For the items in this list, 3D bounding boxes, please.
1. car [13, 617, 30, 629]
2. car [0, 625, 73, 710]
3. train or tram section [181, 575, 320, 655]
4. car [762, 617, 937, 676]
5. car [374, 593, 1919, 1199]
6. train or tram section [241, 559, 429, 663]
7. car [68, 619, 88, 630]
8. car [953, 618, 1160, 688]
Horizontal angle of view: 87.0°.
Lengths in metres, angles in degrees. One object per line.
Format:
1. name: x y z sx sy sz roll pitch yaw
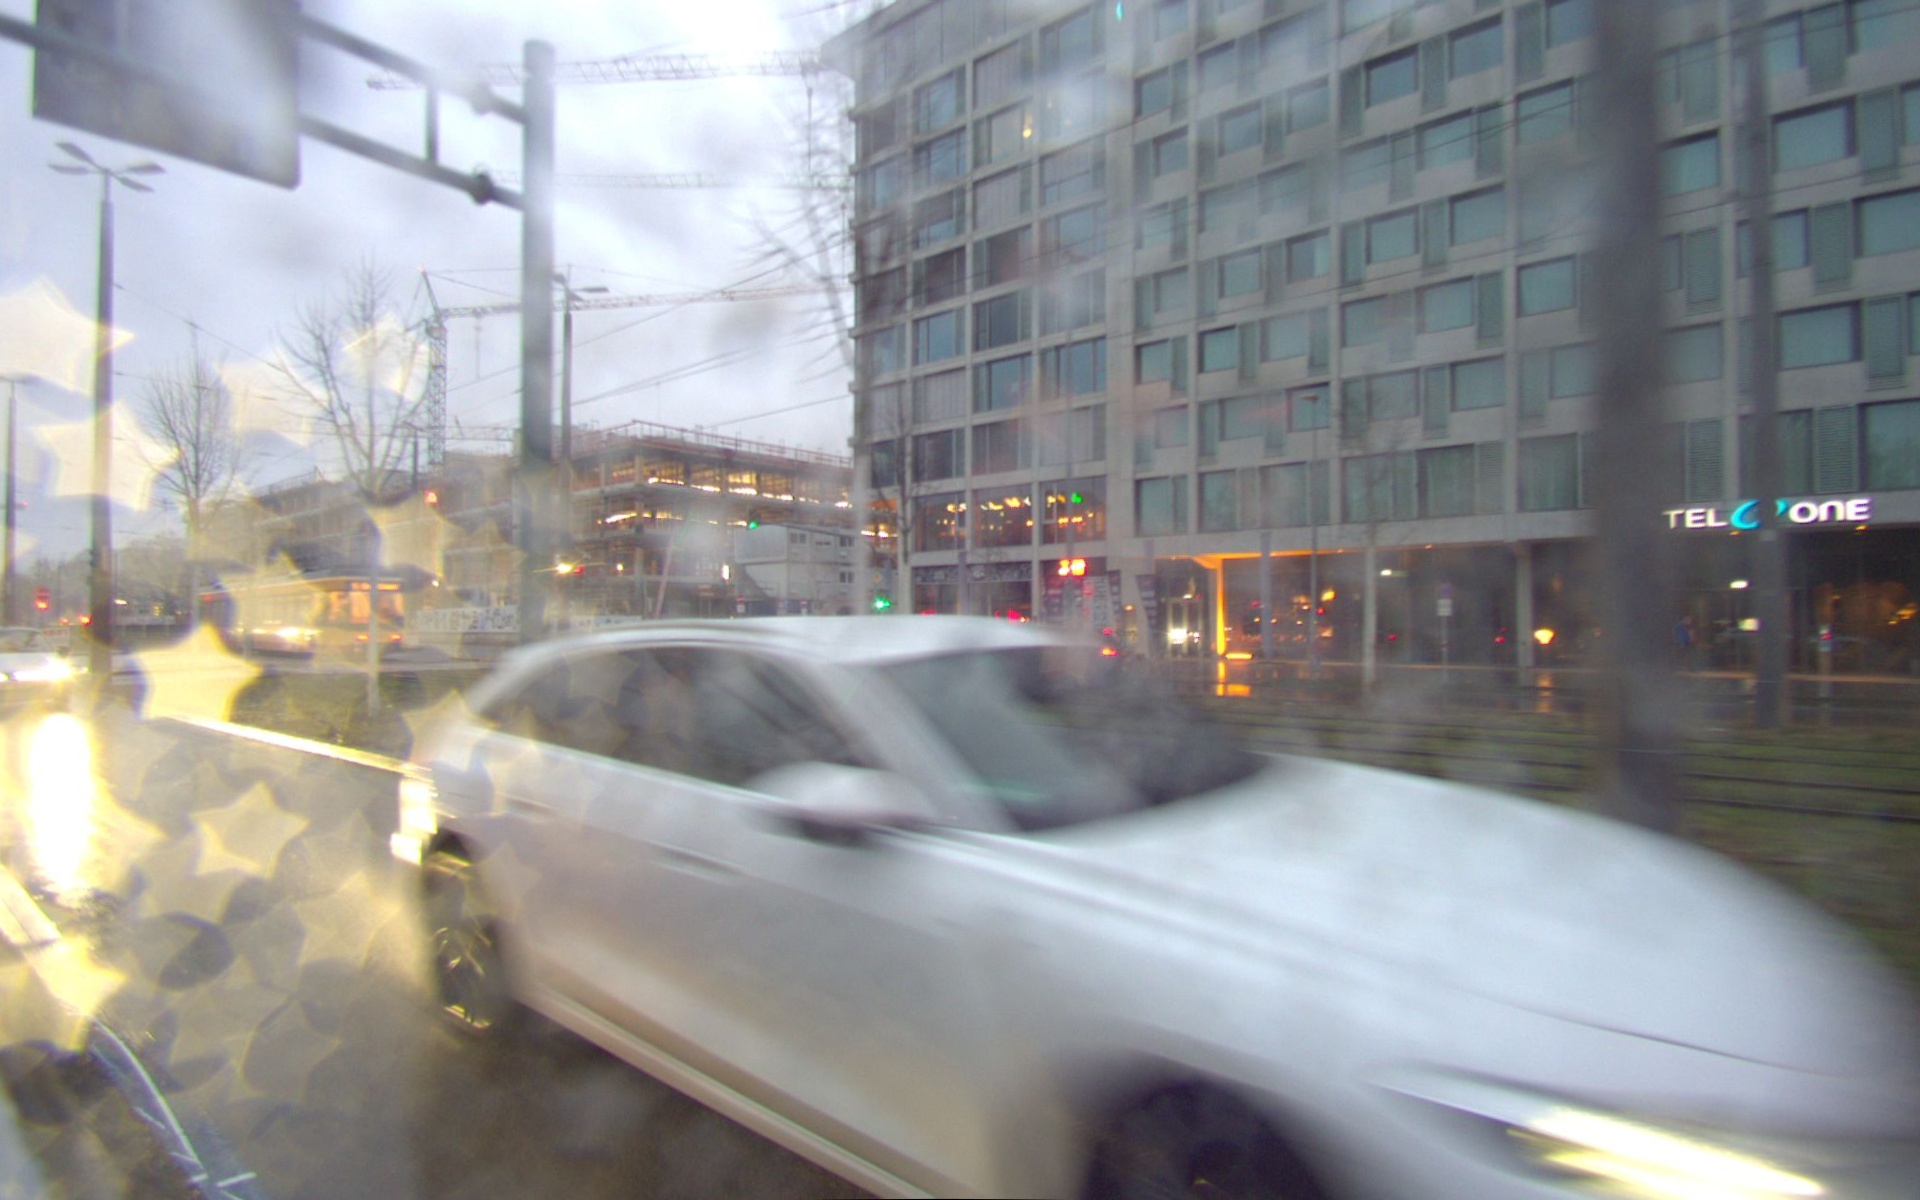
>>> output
1. car: -170.803 4.183 184.172 3.998 2.029 1.973 -2 -2 41
2. car: -17.351 1.162 18.190 3.981 1.381 1.743 -1 0 43
3. train or tram section: -35.511 0.820 50.265 14.322 3.513 2.924 -2 -2 44
4. car: -3.117 1.233 27.788 5.032 1.479 1.972 -2 -2 42
5. car: 0.006 0.725 3.139 4.613 1.416 1.827 -1 0 42
6. train or tram section: -25.262 0.540 40.328 14.269 3.513 2.924 -2 -2 44
7. car: -147.509 4.041 169.290 3.997 1.837 1.973 -1 -2 40
8. car: 2.237 1.187 23.649 4.425 1.508 1.983 -1 -2 26
